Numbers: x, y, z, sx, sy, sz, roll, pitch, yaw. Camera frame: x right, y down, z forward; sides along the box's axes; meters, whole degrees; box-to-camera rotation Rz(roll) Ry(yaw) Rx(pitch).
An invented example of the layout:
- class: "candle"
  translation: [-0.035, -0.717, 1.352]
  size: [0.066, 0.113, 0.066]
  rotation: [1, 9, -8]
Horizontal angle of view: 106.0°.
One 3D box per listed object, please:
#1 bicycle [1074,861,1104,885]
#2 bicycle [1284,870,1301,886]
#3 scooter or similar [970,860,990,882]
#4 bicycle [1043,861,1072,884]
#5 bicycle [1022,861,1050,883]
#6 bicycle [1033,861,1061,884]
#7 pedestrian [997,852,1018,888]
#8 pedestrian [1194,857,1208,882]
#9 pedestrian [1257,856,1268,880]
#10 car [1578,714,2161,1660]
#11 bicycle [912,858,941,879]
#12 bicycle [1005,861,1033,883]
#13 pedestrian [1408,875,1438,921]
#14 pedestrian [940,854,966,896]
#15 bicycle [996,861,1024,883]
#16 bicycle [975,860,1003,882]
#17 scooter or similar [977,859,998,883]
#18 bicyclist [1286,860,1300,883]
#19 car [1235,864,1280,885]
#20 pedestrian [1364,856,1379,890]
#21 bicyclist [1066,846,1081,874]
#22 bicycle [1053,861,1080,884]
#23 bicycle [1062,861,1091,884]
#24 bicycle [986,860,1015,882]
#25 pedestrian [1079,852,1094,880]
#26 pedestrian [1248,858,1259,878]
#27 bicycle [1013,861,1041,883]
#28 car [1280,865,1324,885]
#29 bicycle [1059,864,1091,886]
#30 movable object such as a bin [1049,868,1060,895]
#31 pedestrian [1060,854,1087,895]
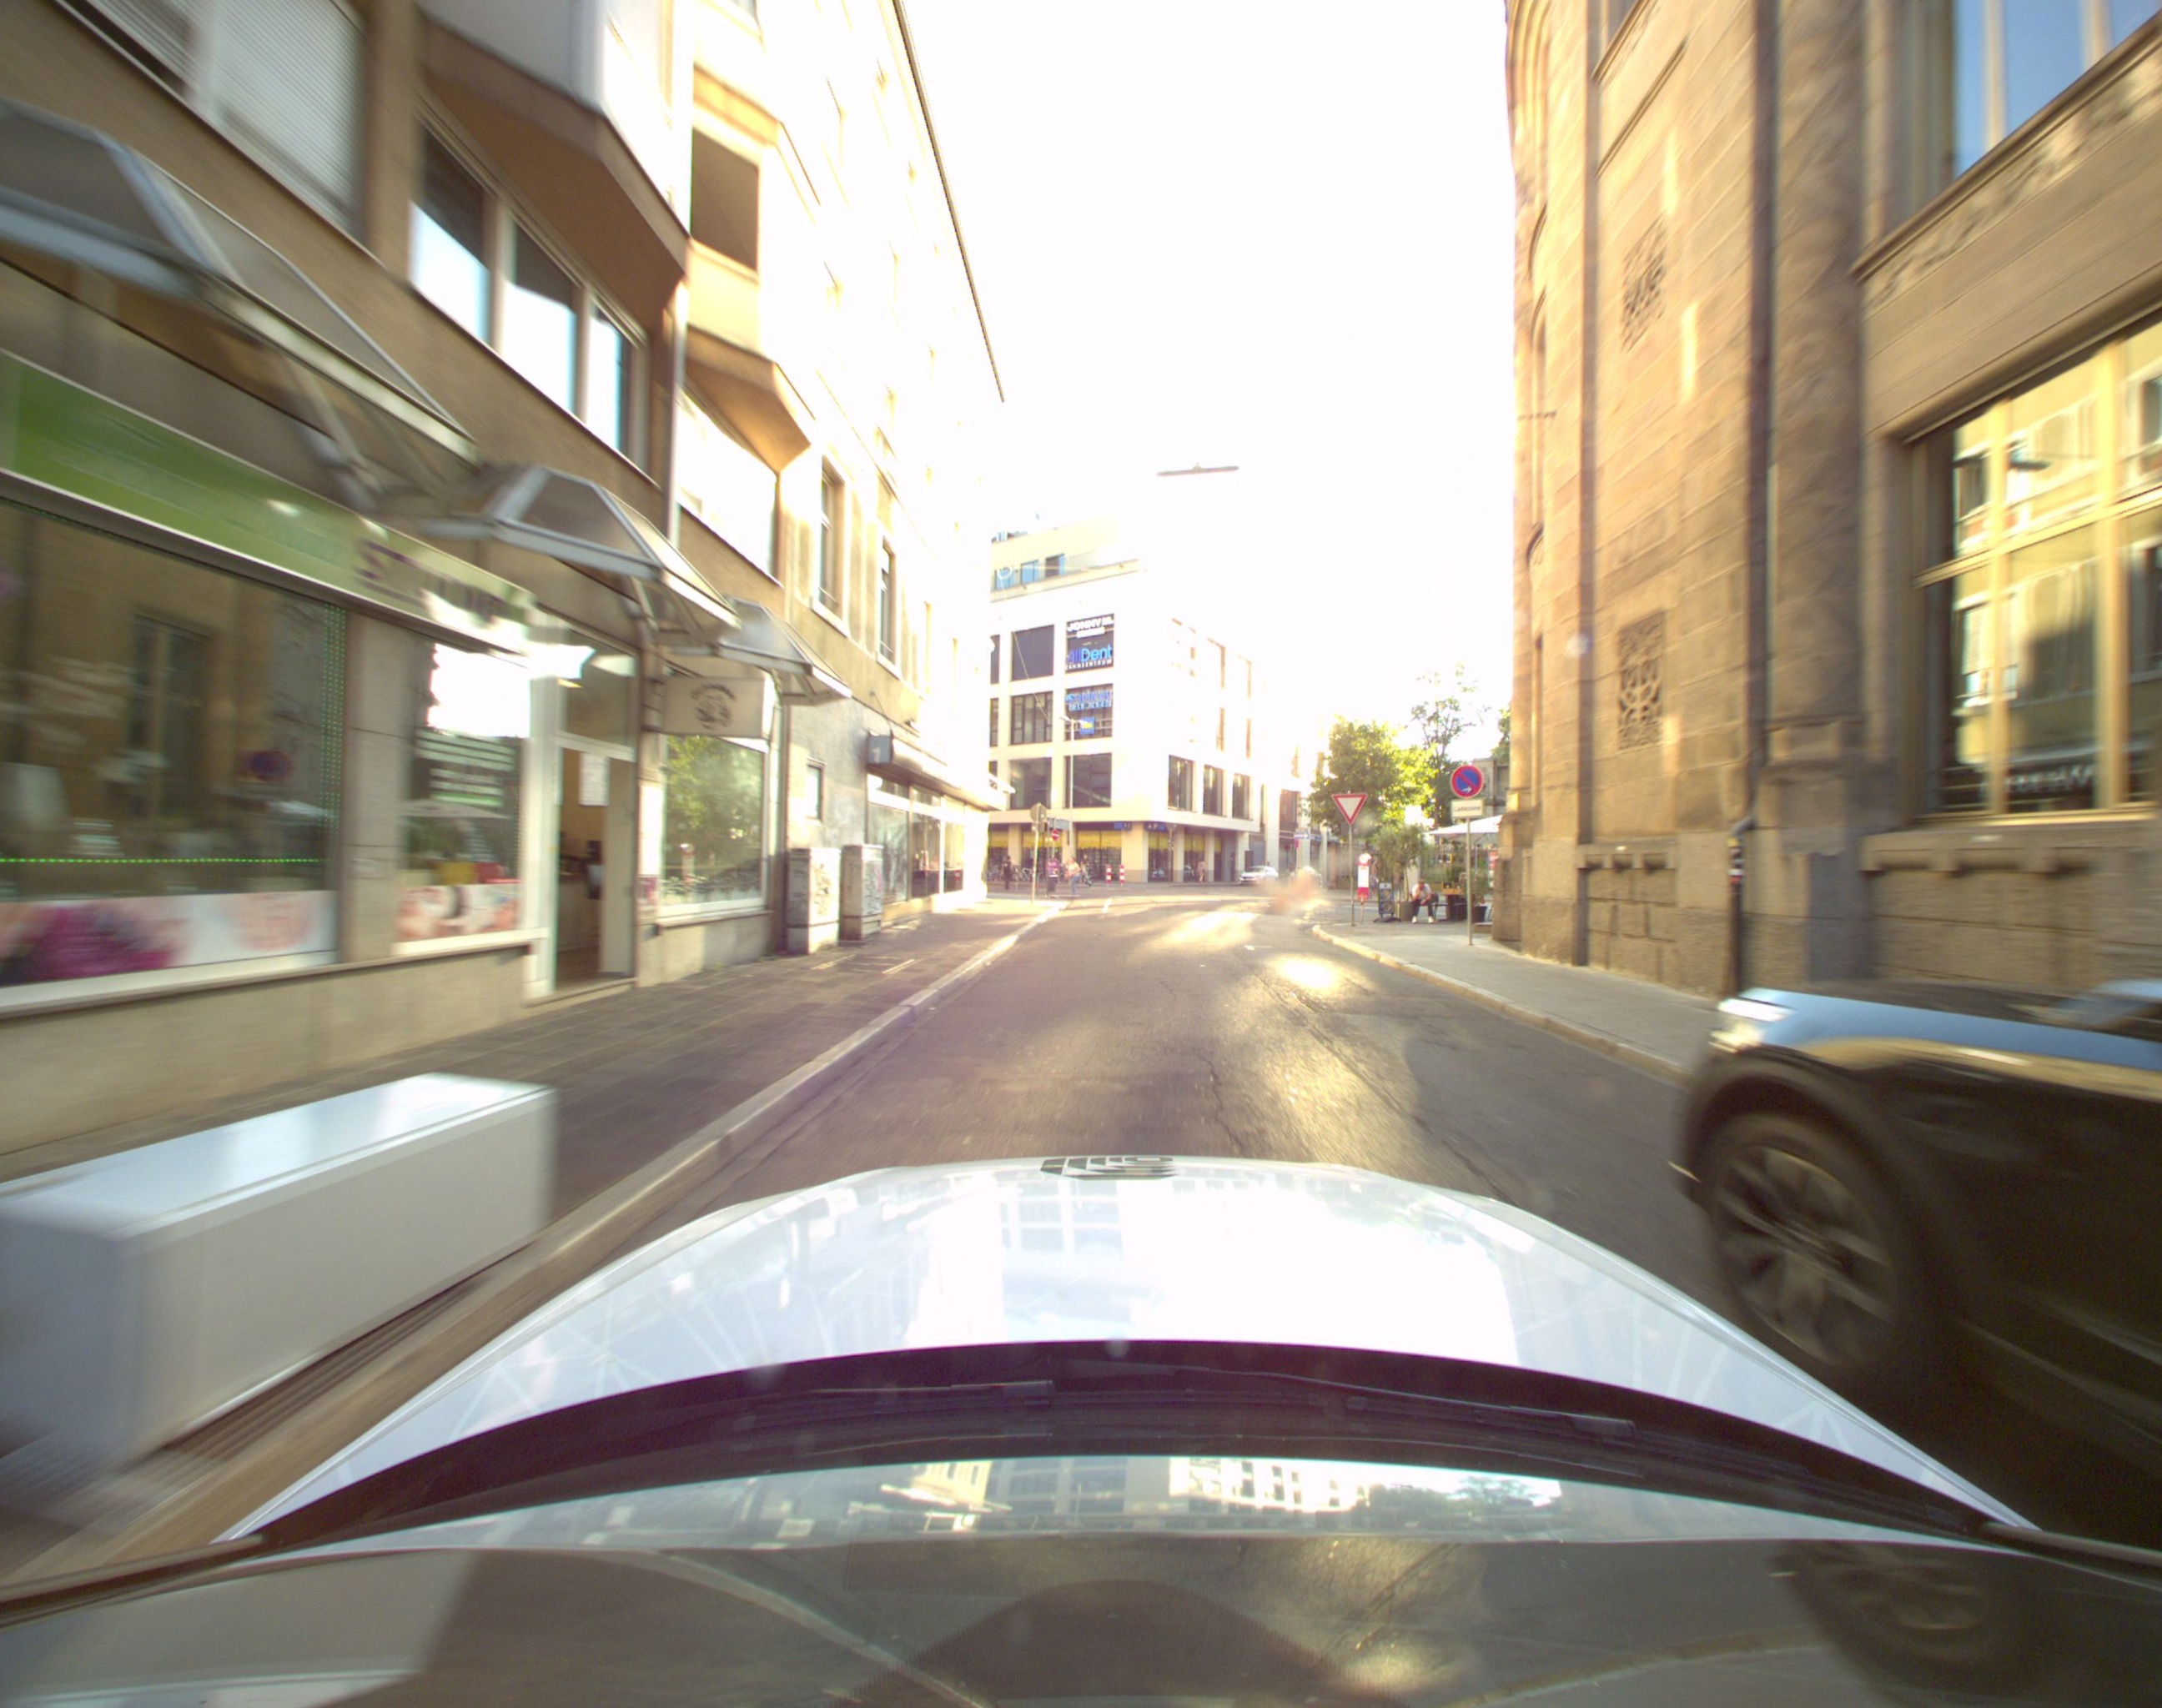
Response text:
- class: "bicycle"
  translation: [0.450, 1.055, 44.480]
  size: [0.657, 1.255, 2.154]
  rotation: [1, -2, 30]
- class: "bicycle"
  translation: [15.182, 1.711, 58.448]
  size: [0.657, 1.138, 1.833]
  rotation: [1, -2, 32]
- class: "scooter or similar"
  translation: [-5.650, 0.978, 45.623]
  size: [0.383, 1.212, 1.278]
  rotation: [1, -2, 32]
- class: "bicycle"
  translation: [-1.318, 1.054, 45.438]
  size: [0.507, 1.255, 1.991]
  rotation: [0, -2, 34]
- class: "bicycle"
  translation: [-2.532, 1.031, 46.369]
  size: [0.507, 1.255, 1.991]
  rotation: [1, -2, 31]
- class: "bicycle"
  translation: [-1.895, 1.030, 45.921]
  size: [0.507, 1.255, 1.991]
  rotation: [1, -2, 32]
- class: "pedestrian"
  translation: [-3.458, 0.762, 38.160]
  size: [0.870, 1.658, 0.616]
  rotation: [1, -1, -13]
- class: "pedestrian"
  translation: [8.213, 1.066, 55.761]
  size: [0.665, 1.745, 0.651]
  rotation: [0, -2, 34]
- class: "pedestrian"
  translation: [14.597, 1.121, 65.414]
  size: [0.665, 1.836, 0.651]
  rotation: [1, -1, 32]
- class: "car"
  translation: [3.021, 0.636, 0.961]
  size: [1.986, 1.783, 4.936]
  rotation: [1, -1, 2]
- class: "bicycle"
  translation: [-9.687, 0.917, 51.068]
  size: [0.507, 1.255, 1.991]
  rotation: [1, -2, 32]
- class: "bicycle"
  translation: [-3.550, 1.062, 47.014]
  size: [0.507, 1.255, 1.991]
  rotation: [1, -2, 32]
- class: "pedestrian"
  translation: [9.172, 1.164, 21.862]
  size: [0.601, 1.188, 0.824]
  rotation: [1, -1, 13]
- class: "pedestrian"
  translation: [-4.966, 0.818, 31.584]
  size: [0.727, 1.613, 0.808]
  rotation: [1, -1, 14]
- class: "bicycle"
  translation: [-4.128, 1.055, 47.423]
  size: [0.507, 1.255, 1.991]
  rotation: [1, -2, 32]
- class: "bicycle"
  translation: [-5.443, 1.038, 48.300]
  size: [0.507, 1.255, 1.991]
  rotation: [1, -2, 31]
- class: "scooter or similar"
  translation: [-5.200, 0.949, 45.254]
  size: [0.383, 1.260, 1.278]
  rotation: [1, -2, 32]
- class: "bicyclist"
  translation: [15.218, 1.251, 58.476]
  size: [0.652, 1.571, 0.868]
  rotation: [1, -2, 33]
- class: "car"
  translation: [12.707, 1.477, 58.400]
  size: [1.760, 1.453, 4.257]
  rotation: [0, -1, 33]
- class: "pedestrian"
  translation: [14.577, 0.967, 40.844]
  size: [0.697, 1.670, 0.645]
  rotation: [1, 0, 20]
- class: "bicyclist"
  translation: [-0.458, 0.371, 50.130]
  size: [0.636, 1.695, 0.688]
  rotation: [0, -1, 34]
- class: "bicycle"
  translation: [-0.788, 1.049, 45.123]
  size: [0.507, 1.255, 1.991]
  rotation: [1, -2, 30]
- class: "bicycle"
  translation: [-0.223, 1.040, 44.835]
  size: [0.575, 1.255, 2.056]
  rotation: [1, -2, 30]
- class: "bicycle"
  translation: [-4.716, 1.036, 47.904]
  size: [0.507, 1.255, 1.991]
  rotation: [1, -2, 32]
- class: "pedestrian"
  translation: [0.343, 0.734, 51.362]
  size: [0.638, 1.723, 0.839]
  rotation: [1, -1, -21]
- class: "pedestrian"
  translation: [13.963, 1.134, 65.881]
  size: [0.665, 1.675, 0.651]
  rotation: [1, -1, 32]
- class: "bicycle"
  translation: [-3.093, 1.054, 46.680]
  size: [0.507, 1.255, 1.991]
  rotation: [1, -2, 32]
- class: "car"
  translation: [17.888, 1.692, 65.864]
  size: [1.865, 1.598, 4.718]
  rotation: [0, -1, 36]
- class: "bicycle"
  translation: [-0.377, 1.293, 50.113]
  size: [1.953, 1.255, 0.616]
  rotation: [1, -2, 33]
- class: "movable object such as a bin"
  translation: [-1.036, 1.074, 31.696]
  size: [0.359, 1.064, 0.355]
  rotation: [1, -1, -8]
- class: "pedestrian"
  translation: [-0.313, 0.803, 32.365]
  size: [0.806, 1.613, 0.728]
  rotation: [2, -1, -26]
